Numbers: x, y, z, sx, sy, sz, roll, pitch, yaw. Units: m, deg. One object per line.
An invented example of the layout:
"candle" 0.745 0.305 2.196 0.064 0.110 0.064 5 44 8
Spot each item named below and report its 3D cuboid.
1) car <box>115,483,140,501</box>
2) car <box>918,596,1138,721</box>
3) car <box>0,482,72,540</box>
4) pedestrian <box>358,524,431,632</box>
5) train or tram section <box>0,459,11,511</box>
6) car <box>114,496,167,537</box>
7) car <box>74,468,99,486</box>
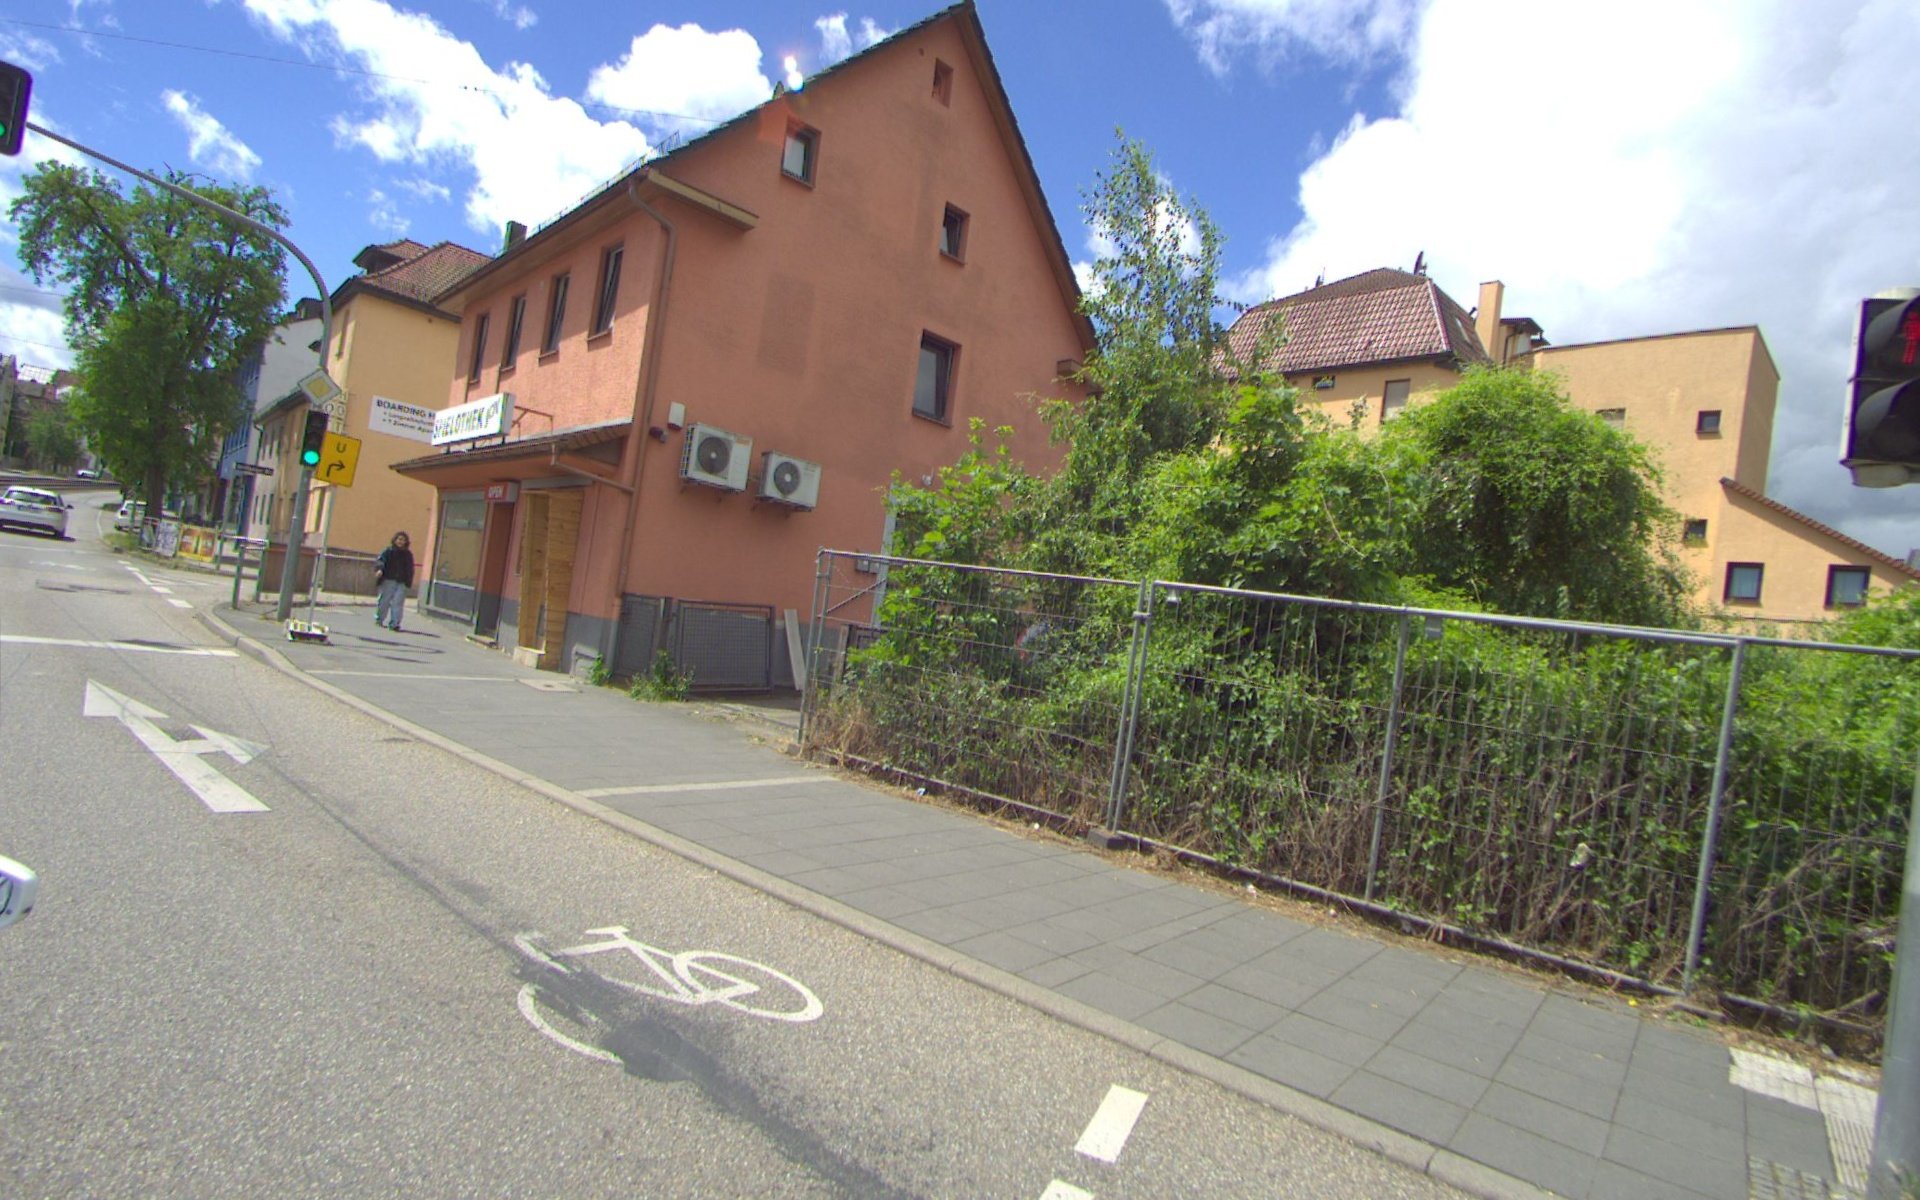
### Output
"car" -88.890 -11.545 107.472 1.810 1.484 3.956 12 -3 -39
"car" 1.027 0.851 14.690 2.793 1.516 1.629 5 2 -42
"car" -30.540 -2.956 33.034 1.812 1.485 3.950 11 -2 -43
"pedestrian" -9.521 -0.372 16.934 0.761 1.663 0.768 7 1 -42
"train or tram section" -71.429 -8.736 70.407 3.726 3.859 19.872 7 -1 -34
"car" -39.539 -4.018 48.518 1.780 1.615 3.955 8 -1 -40
"car" -127.654 -17.902 147.115 1.980 2.037 3.967 7 -1 -32
